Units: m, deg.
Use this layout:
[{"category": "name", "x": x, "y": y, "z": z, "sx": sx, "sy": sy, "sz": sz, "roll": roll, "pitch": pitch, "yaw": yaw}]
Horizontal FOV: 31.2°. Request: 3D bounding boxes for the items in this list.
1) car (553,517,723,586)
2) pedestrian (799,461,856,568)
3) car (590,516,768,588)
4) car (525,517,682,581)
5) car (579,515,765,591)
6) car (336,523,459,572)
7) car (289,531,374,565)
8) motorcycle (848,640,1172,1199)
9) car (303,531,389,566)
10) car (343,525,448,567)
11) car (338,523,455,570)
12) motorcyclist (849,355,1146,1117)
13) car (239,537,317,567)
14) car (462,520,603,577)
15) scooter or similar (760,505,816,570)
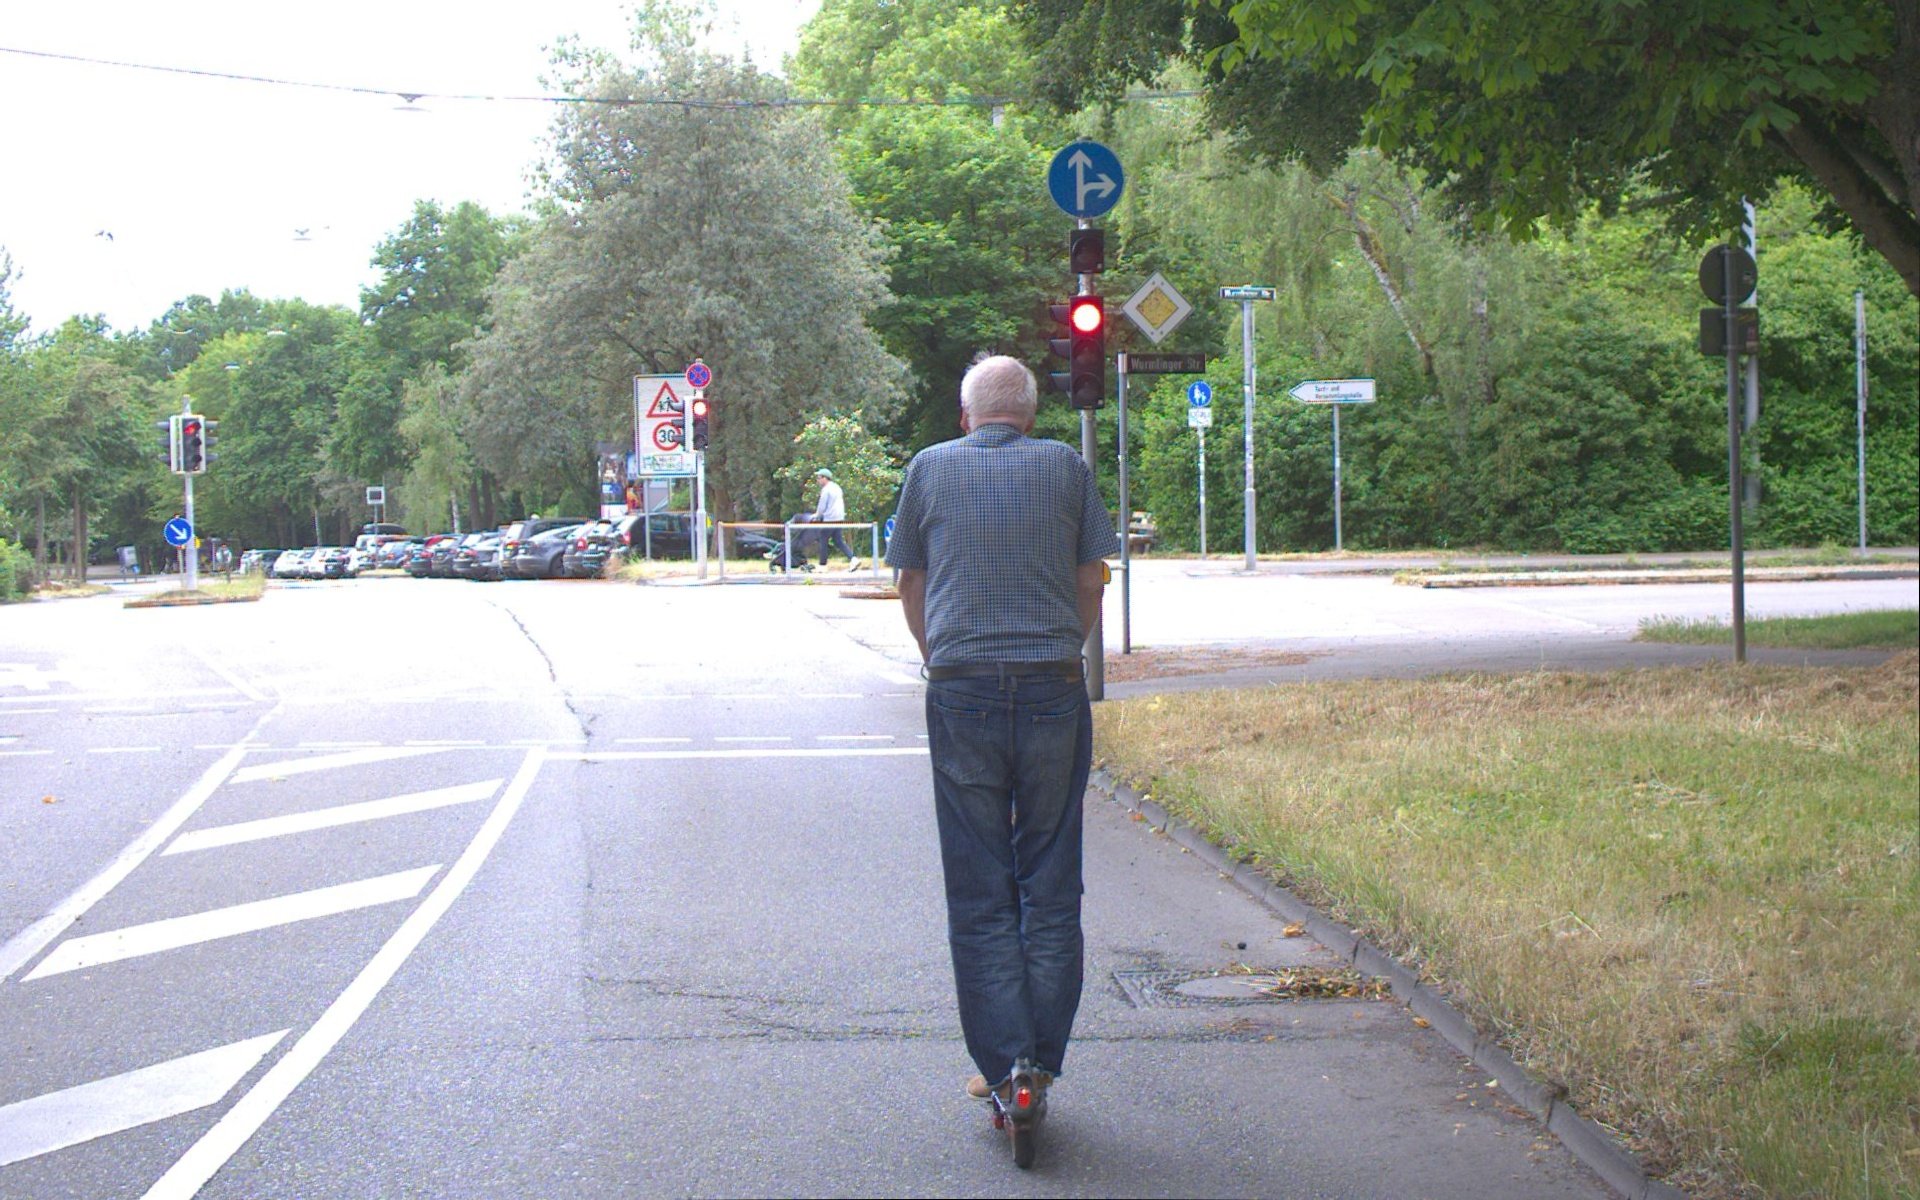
[{"category": "car", "x": -7.790, "y": -1.193, "z": 83.028, "sx": 3.986, "sy": 1.505, "sz": 1.800, "roll": -2, "pitch": 2, "yaw": -7}, {"category": "pedestrian", "x": -2.205, "y": -1.424, "z": 57.284, "sx": 0.733, "sy": 1.755, "sz": 0.661, "roll": -1, "pitch": 1, "yaw": 15}, {"category": "car", "x": -6.524, "y": -1.125, "z": 79.550, "sx": 3.986, "sy": 1.505, "sz": 1.800, "roll": -2, "pitch": 2, "yaw": -7}, {"category": "car", "x": -9.313, "y": -1.334, "z": 89.799, "sx": 3.986, "sy": 1.505, "sz": 1.800, "roll": -2, "pitch": 2, "yaw": -7}, {"category": "car", "x": -6.375, "y": -1.048, "z": 75.974, "sx": 3.986, "sy": 1.505, "sz": 1.800, "roll": -2, "pitch": 2, "yaw": -7}, {"category": "car", "x": -19.051, "y": -1.782, "z": 116.540, "sx": 3.986, "sy": 1.505, "sz": 1.800, "roll": -2, "pitch": 2, "yaw": -7}, {"category": "car", "x": -31.309, "y": -2.594, "z": 171.297, "sx": 3.986, "sy": 1.505, "sz": 1.800, "roll": -2, "pitch": 2, "yaw": -7}, {"category": "motorcycle", "x": 0.087, "y": 0.726, "z": 8.039, "sx": 0.673, "sy": 1.213, "sz": 1.274, "roll": 0, "pitch": 1, "yaw": -3}, {"category": "car", "x": -29.740, "y": -2.501, "z": 166.574, "sx": 3.986, "sy": 1.505, "sz": 1.800, "roll": -2, "pitch": 2, "yaw": -7}, {"category": "car", "x": -22.423, "y": -2.149, "z": 136.555, "sx": 3.986, "sy": 1.505, "sz": 1.800, "roll": -2, "pitch": 2, "yaw": -7}, {"category": "car", "x": -20.126, "y": -1.926, "z": 122.847, "sx": 3.986, "sy": 1.505, "sz": 1.800, "roll": -2, "pitch": 2, "yaw": -7}, {"category": "motorcyclist", "x": 0.076, "y": 0.307, "z": 8.254, "sx": 0.673, "sy": 1.755, "sz": 0.639, "roll": 0, "pitch": 1, "yaw": -3}, {"category": "car", "x": -37.362, "y": -2.635, "z": 188.410, "sx": 3.986, "sy": 1.505, "sz": 1.800, "roll": -2, "pitch": 2, "yaw": -7}, {"category": "car", "x": -12.461, "y": -1.513, "z": 100.292, "sx": 3.986, "sy": 1.505, "sz": 1.800, "roll": -2, "pitch": 2, "yaw": -7}, {"category": "scooter or similar", "x": -2.883, "y": -1.051, "z": 57.631, "sx": 0.710, "sy": 1.045, "sz": 0.787, "roll": -1, "pitch": 1, "yaw": 15}]
